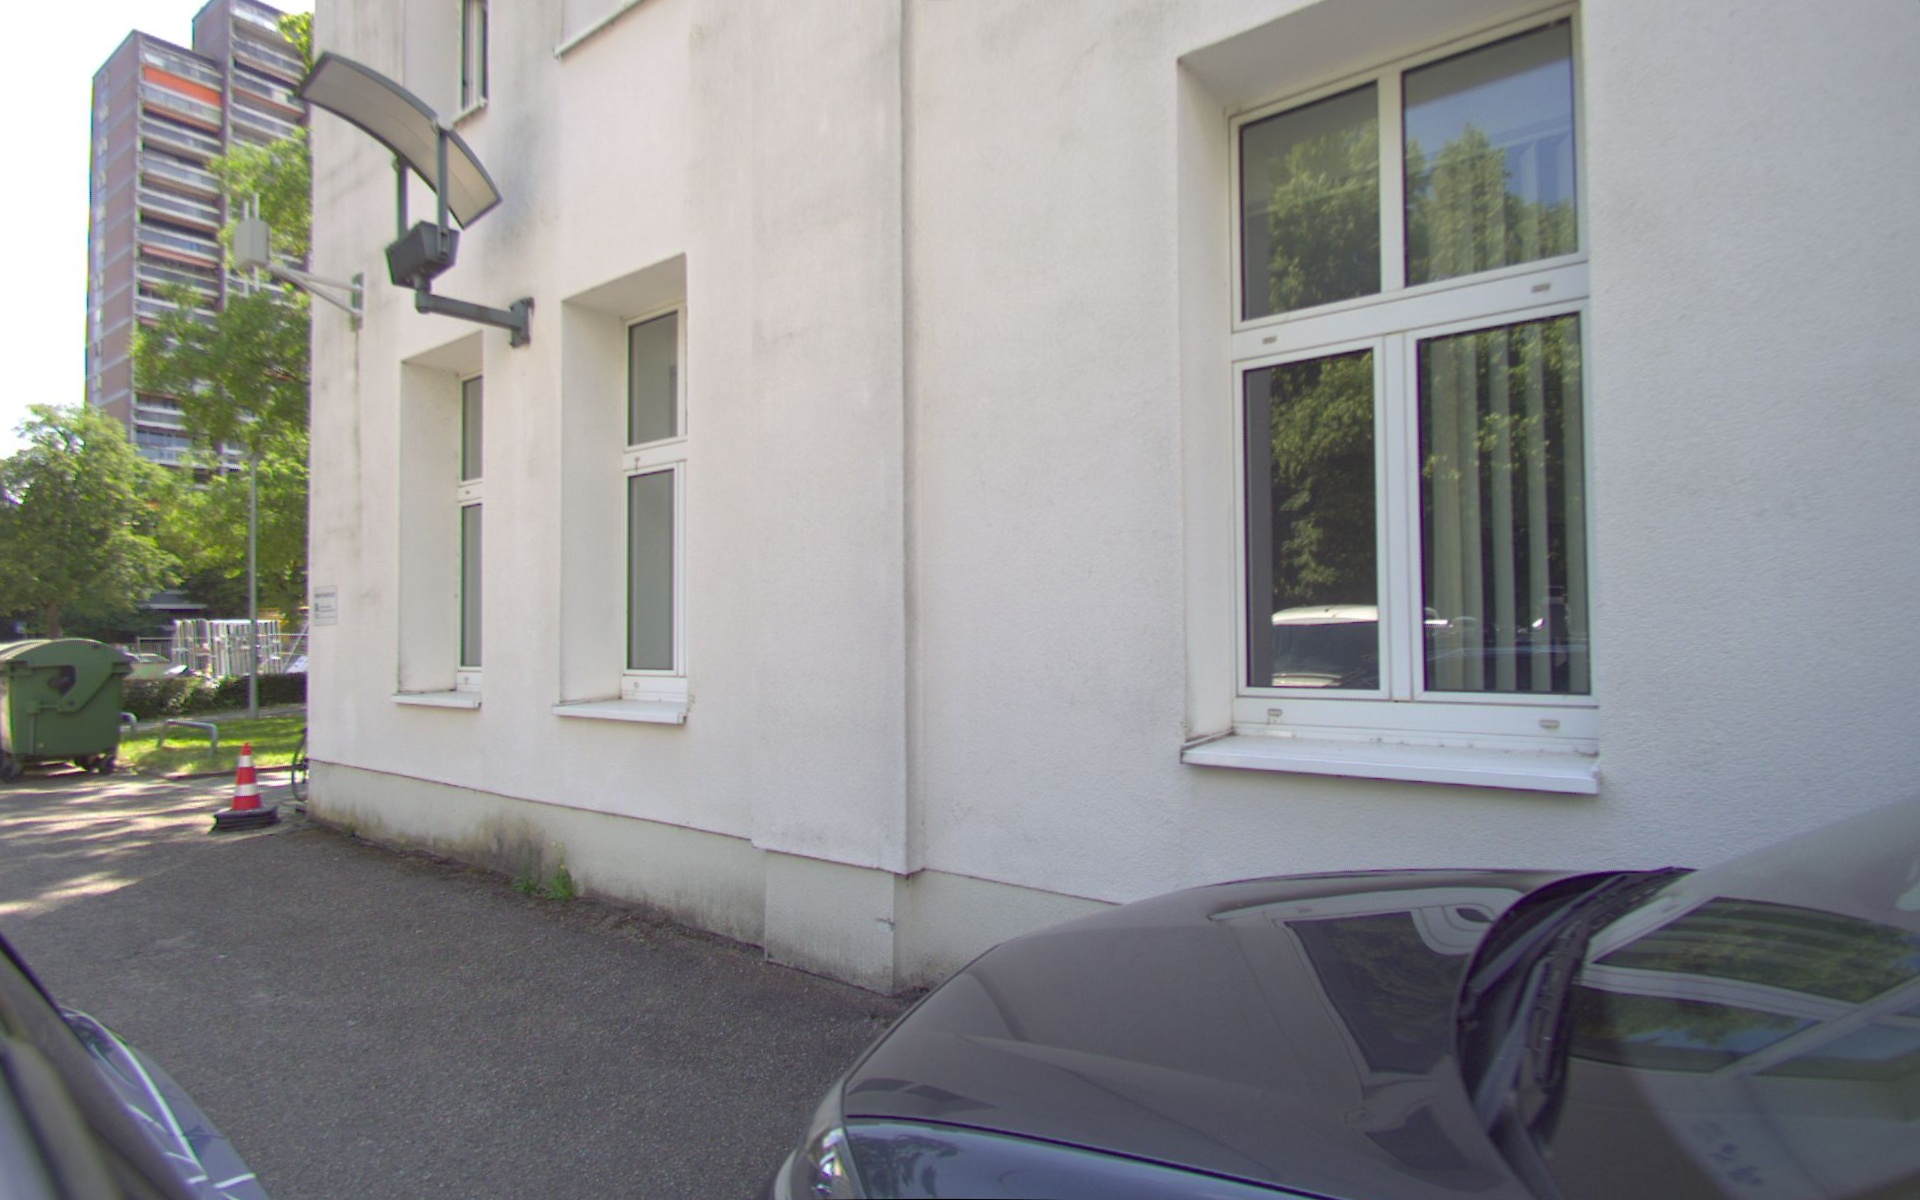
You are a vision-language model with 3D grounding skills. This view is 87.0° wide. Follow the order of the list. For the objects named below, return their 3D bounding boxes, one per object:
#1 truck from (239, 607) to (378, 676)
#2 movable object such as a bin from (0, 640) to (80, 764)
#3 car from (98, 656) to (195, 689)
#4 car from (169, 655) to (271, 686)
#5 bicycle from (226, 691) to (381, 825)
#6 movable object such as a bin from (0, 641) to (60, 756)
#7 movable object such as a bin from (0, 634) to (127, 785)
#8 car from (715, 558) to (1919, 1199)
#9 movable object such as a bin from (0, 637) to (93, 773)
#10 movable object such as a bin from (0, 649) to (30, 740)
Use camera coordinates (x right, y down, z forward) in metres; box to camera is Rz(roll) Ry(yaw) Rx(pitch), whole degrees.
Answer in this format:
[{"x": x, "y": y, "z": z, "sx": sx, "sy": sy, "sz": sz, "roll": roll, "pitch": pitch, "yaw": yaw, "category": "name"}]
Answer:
[{"x": -40.416, "y": 2.588, "z": 62.695, "sx": 9.693, "sy": 4.037, "sz": 2.726, "roll": -2, "pitch": -2, "yaw": 27, "category": "truck"}, {"x": -12.020, "y": 1.249, "z": 12.646, "sx": 1.353, "sy": 1.491, "sz": 1.086, "roll": -2, "pitch": -3, "yaw": 27, "category": "movable object such as a bin"}, {"x": -37.097, "y": 3.286, "z": 46.152, "sx": 3.548, "sy": 1.451, "sz": 1.615, "roll": -1, "pitch": -3, "yaw": 14, "category": "car"}, {"x": -40.754, "y": 3.871, "z": 55.797, "sx": 4.347, "sy": 1.619, "sz": 1.996, "roll": -1, "pitch": -3, "yaw": 7, "category": "car"}, {"x": -5.556, "y": 1.276, "z": 8.528, "sx": 1.728, "sy": 0.965, "sz": 0.605, "roll": -3, "pitch": -4, "yaw": 40, "category": "bicycle"}, {"x": -13.042, "y": 1.309, "z": 13.535, "sx": 1.322, "sy": 1.491, "sz": 1.193, "roll": -2, "pitch": -4, "yaw": 35, "category": "movable object such as a bin"}, {"x": -9.785, "y": 1.127, "z": 10.836, "sx": 1.408, "sy": 1.491, "sz": 1.034, "roll": -3, "pitch": -4, "yaw": 38, "category": "movable object such as a bin"}, {"x": 1.913, "y": 0.675, "z": 0.656, "sx": 4.381, "sy": 1.441, "sz": 1.737, "roll": -3, "pitch": -3, "yaw": 39, "category": "car"}, {"x": -10.938, "y": 1.190, "z": 11.780, "sx": 1.260, "sy": 1.491, "sz": 1.034, "roll": -3, "pitch": -4, "yaw": 38, "category": "movable object such as a bin"}, {"x": -15.646, "y": 1.493, "z": 16.015, "sx": 1.097, "sy": 1.405, "sz": 1.164, "roll": 1, "pitch": -3, "yaw": -29, "category": "movable object such as a bin"}]
